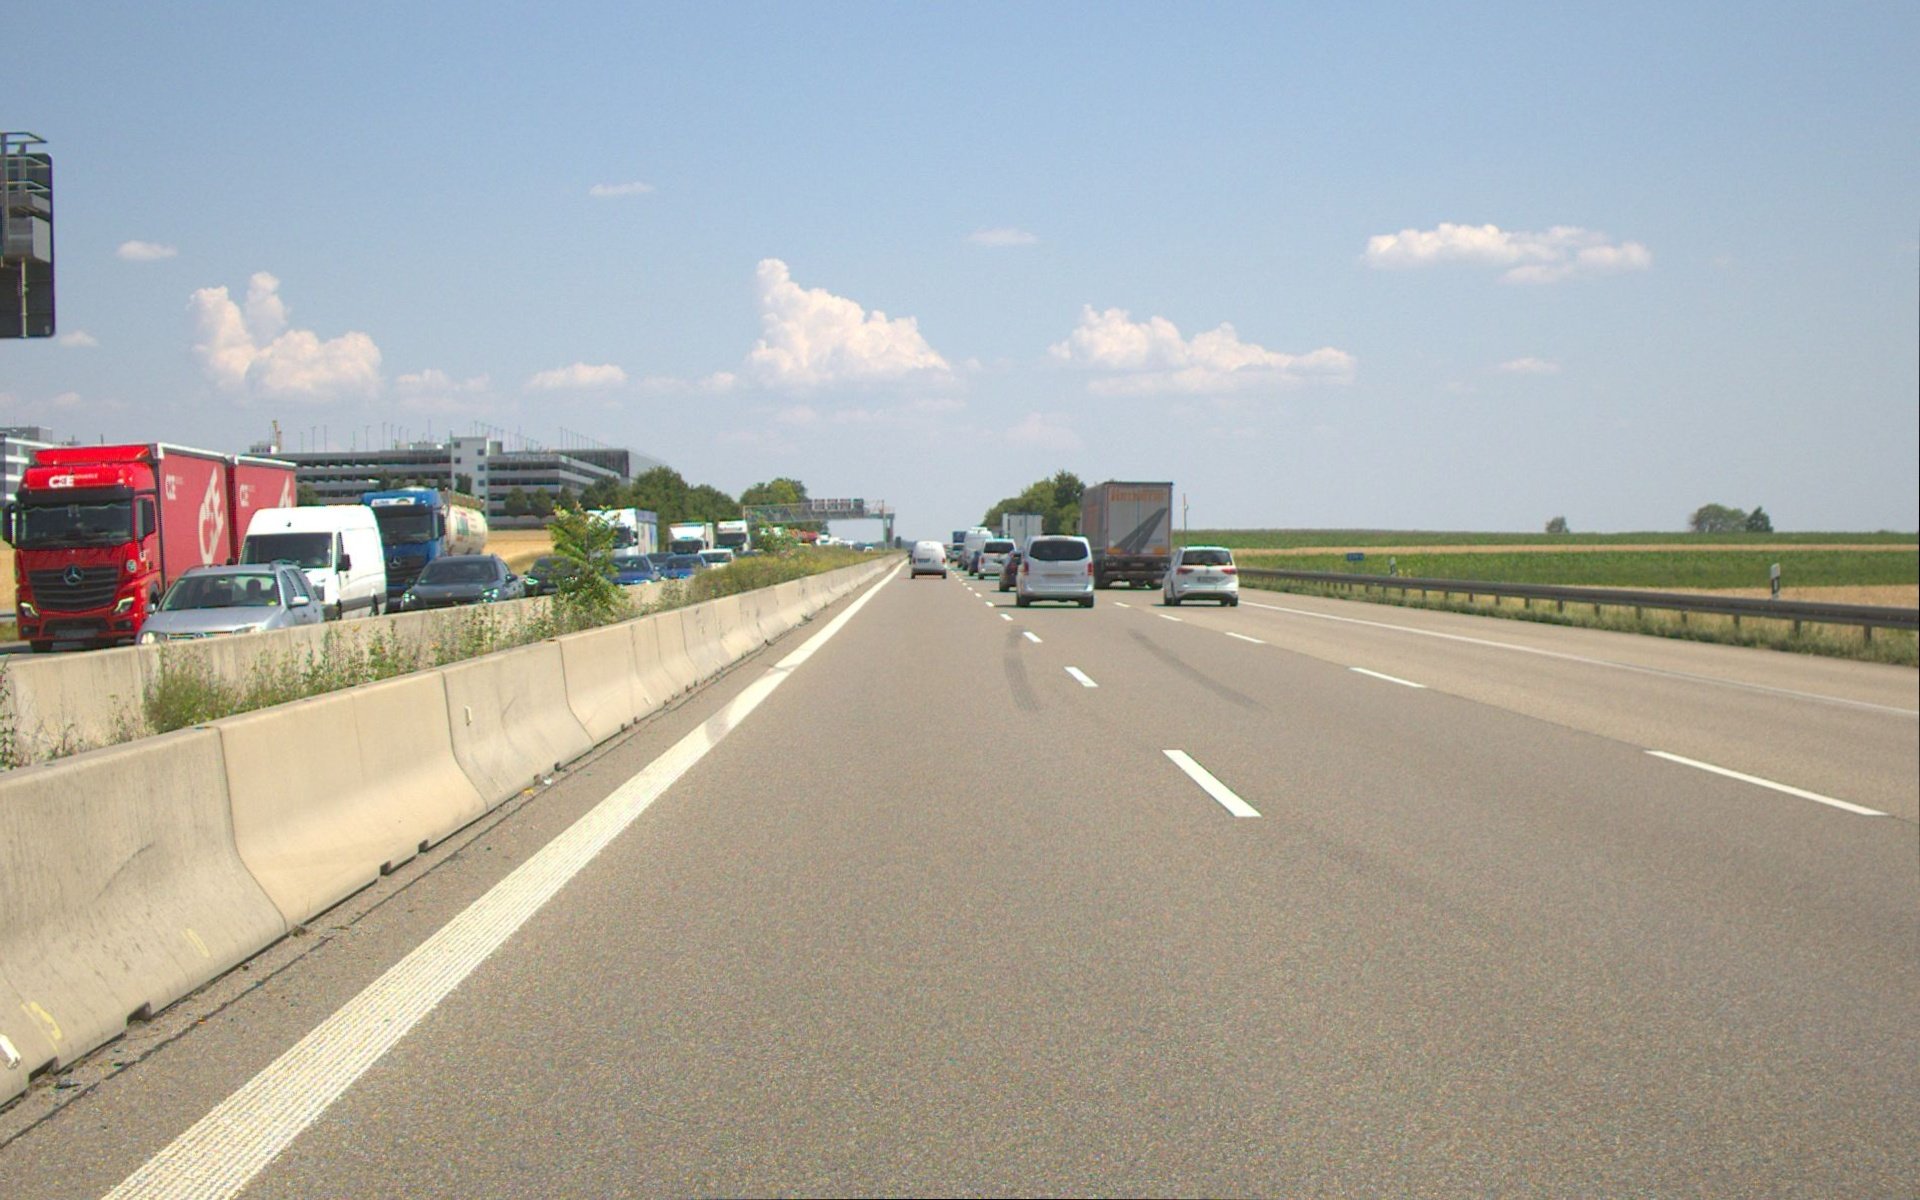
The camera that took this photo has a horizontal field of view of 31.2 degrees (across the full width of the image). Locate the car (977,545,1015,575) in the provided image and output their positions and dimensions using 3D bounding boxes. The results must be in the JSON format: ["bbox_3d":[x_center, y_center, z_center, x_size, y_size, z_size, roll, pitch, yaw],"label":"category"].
[{"bbox_3d":[1.746,-1.936,168.158,1.773,1.442,4.000,0,0,0],"label":"car"}]

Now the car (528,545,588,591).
[{"bbox_3d":[-13.263,-1.071,113.531,1.626,1.464,3.719,0,1,-1],"label":"car"}]

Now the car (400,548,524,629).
[{"bbox_3d":[-8.765,-0.224,60.775,1.718,1.345,3.774,0,1,-1],"label":"car"}]

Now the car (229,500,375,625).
[{"bbox_3d":[-12.769,-0.749,67.063,1.859,2.328,5.708,0,1,-1],"label":"car"}]

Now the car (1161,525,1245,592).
[{"bbox_3d":[6.626,-1.110,94.181,1.993,1.788,4.000,0,0,0],"label":"car"}]

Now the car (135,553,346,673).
[{"bbox_3d":[-8.583,0.125,41.271,1.816,1.345,3.774,0,1,-1],"label":"car"}]

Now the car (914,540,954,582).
[{"bbox_3d":[-1.286,-1.924,171.124,1.993,2.007,4.000,0,0,0],"label":"car"}]

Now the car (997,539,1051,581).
[{"bbox_3d":[2.241,-1.413,121.427,1.773,1.442,4.000,0,0,0],"label":"car"}]

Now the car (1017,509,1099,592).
[{"bbox_3d":[2.528,-1.263,89.703,1.993,2.112,4.000,0,0,0],"label":"car"}]

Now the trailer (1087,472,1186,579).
[{"bbox_3d":[6.775,-2.837,133.448,3.277,3.953,9.113,0,0,0],"label":"trailer"}]

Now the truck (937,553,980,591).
[{"bbox_3d":[-0.095,-1.575,189.546,2.211,2.007,4.972,-1,1,-1],"label":"truck"}]

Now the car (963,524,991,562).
[{"bbox_3d":[1.096,-3.694,223.080,1.773,2.384,4.000,0,0,0],"label":"car"}]

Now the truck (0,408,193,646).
[{"bbox_3d":[-17.239,-1.454,68.835,2.776,4.582,4.724,0,1,-1],"label":"truck"}]

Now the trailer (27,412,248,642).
[{"bbox_3d":[-17.352,-1.537,73.102,2.776,4.582,8.603,0,1,-1],"label":"trailer"}]

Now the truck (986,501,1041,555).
[{"bbox_3d":[3.965,-5.358,256.488,3.815,3.891,9.581,-1,1,-1],"label":"truck"}]

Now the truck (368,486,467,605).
[{"bbox_3d":[-16.960,-1.717,107.781,2.109,3.588,7.121,0,1,-1],"label":"truck"}]
